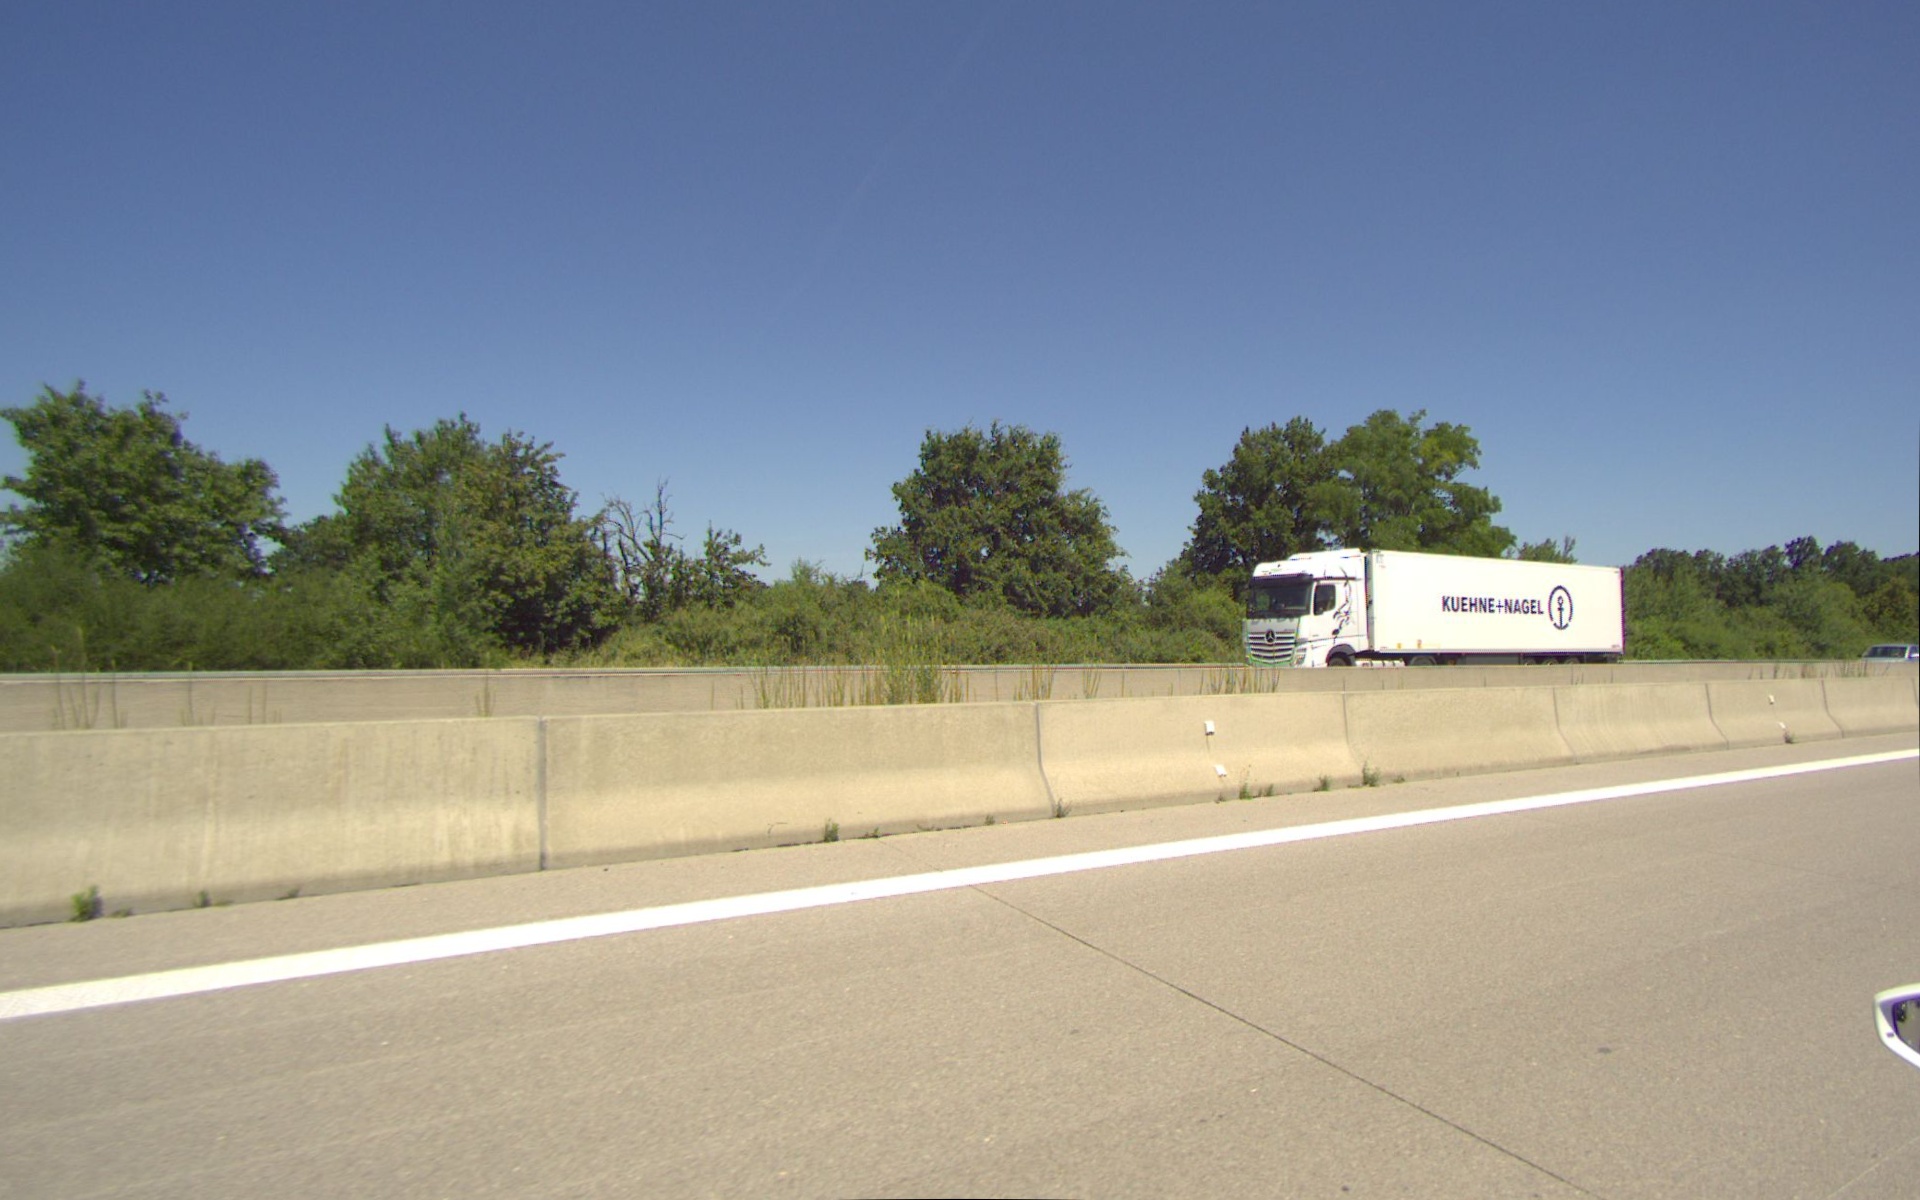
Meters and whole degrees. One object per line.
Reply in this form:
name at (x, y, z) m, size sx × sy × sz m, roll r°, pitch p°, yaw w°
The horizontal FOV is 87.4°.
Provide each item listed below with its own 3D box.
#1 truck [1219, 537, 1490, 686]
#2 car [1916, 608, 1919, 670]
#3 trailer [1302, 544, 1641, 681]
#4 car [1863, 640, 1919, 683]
truck at (11.946, 0.380, 30.175) m, size 8.276 × 3.960 × 3.145 m, roll 1°, pitch 0°, yaw -31°
car at (34.971, 1.373, 34.142) m, size 5.911 × 2.040 × 2.058 m, roll 1°, pitch 0°, yaw -31°
trailer at (17.385, 0.488, 33.412) m, size 13.868 × 3.889 × 3.145 m, roll 1°, pitch 0°, yaw -31°
car at (39.975, 2.544, 42.247) m, size 3.951 × 1.684 × 1.812 m, roll 1°, pitch -1°, yaw -29°
